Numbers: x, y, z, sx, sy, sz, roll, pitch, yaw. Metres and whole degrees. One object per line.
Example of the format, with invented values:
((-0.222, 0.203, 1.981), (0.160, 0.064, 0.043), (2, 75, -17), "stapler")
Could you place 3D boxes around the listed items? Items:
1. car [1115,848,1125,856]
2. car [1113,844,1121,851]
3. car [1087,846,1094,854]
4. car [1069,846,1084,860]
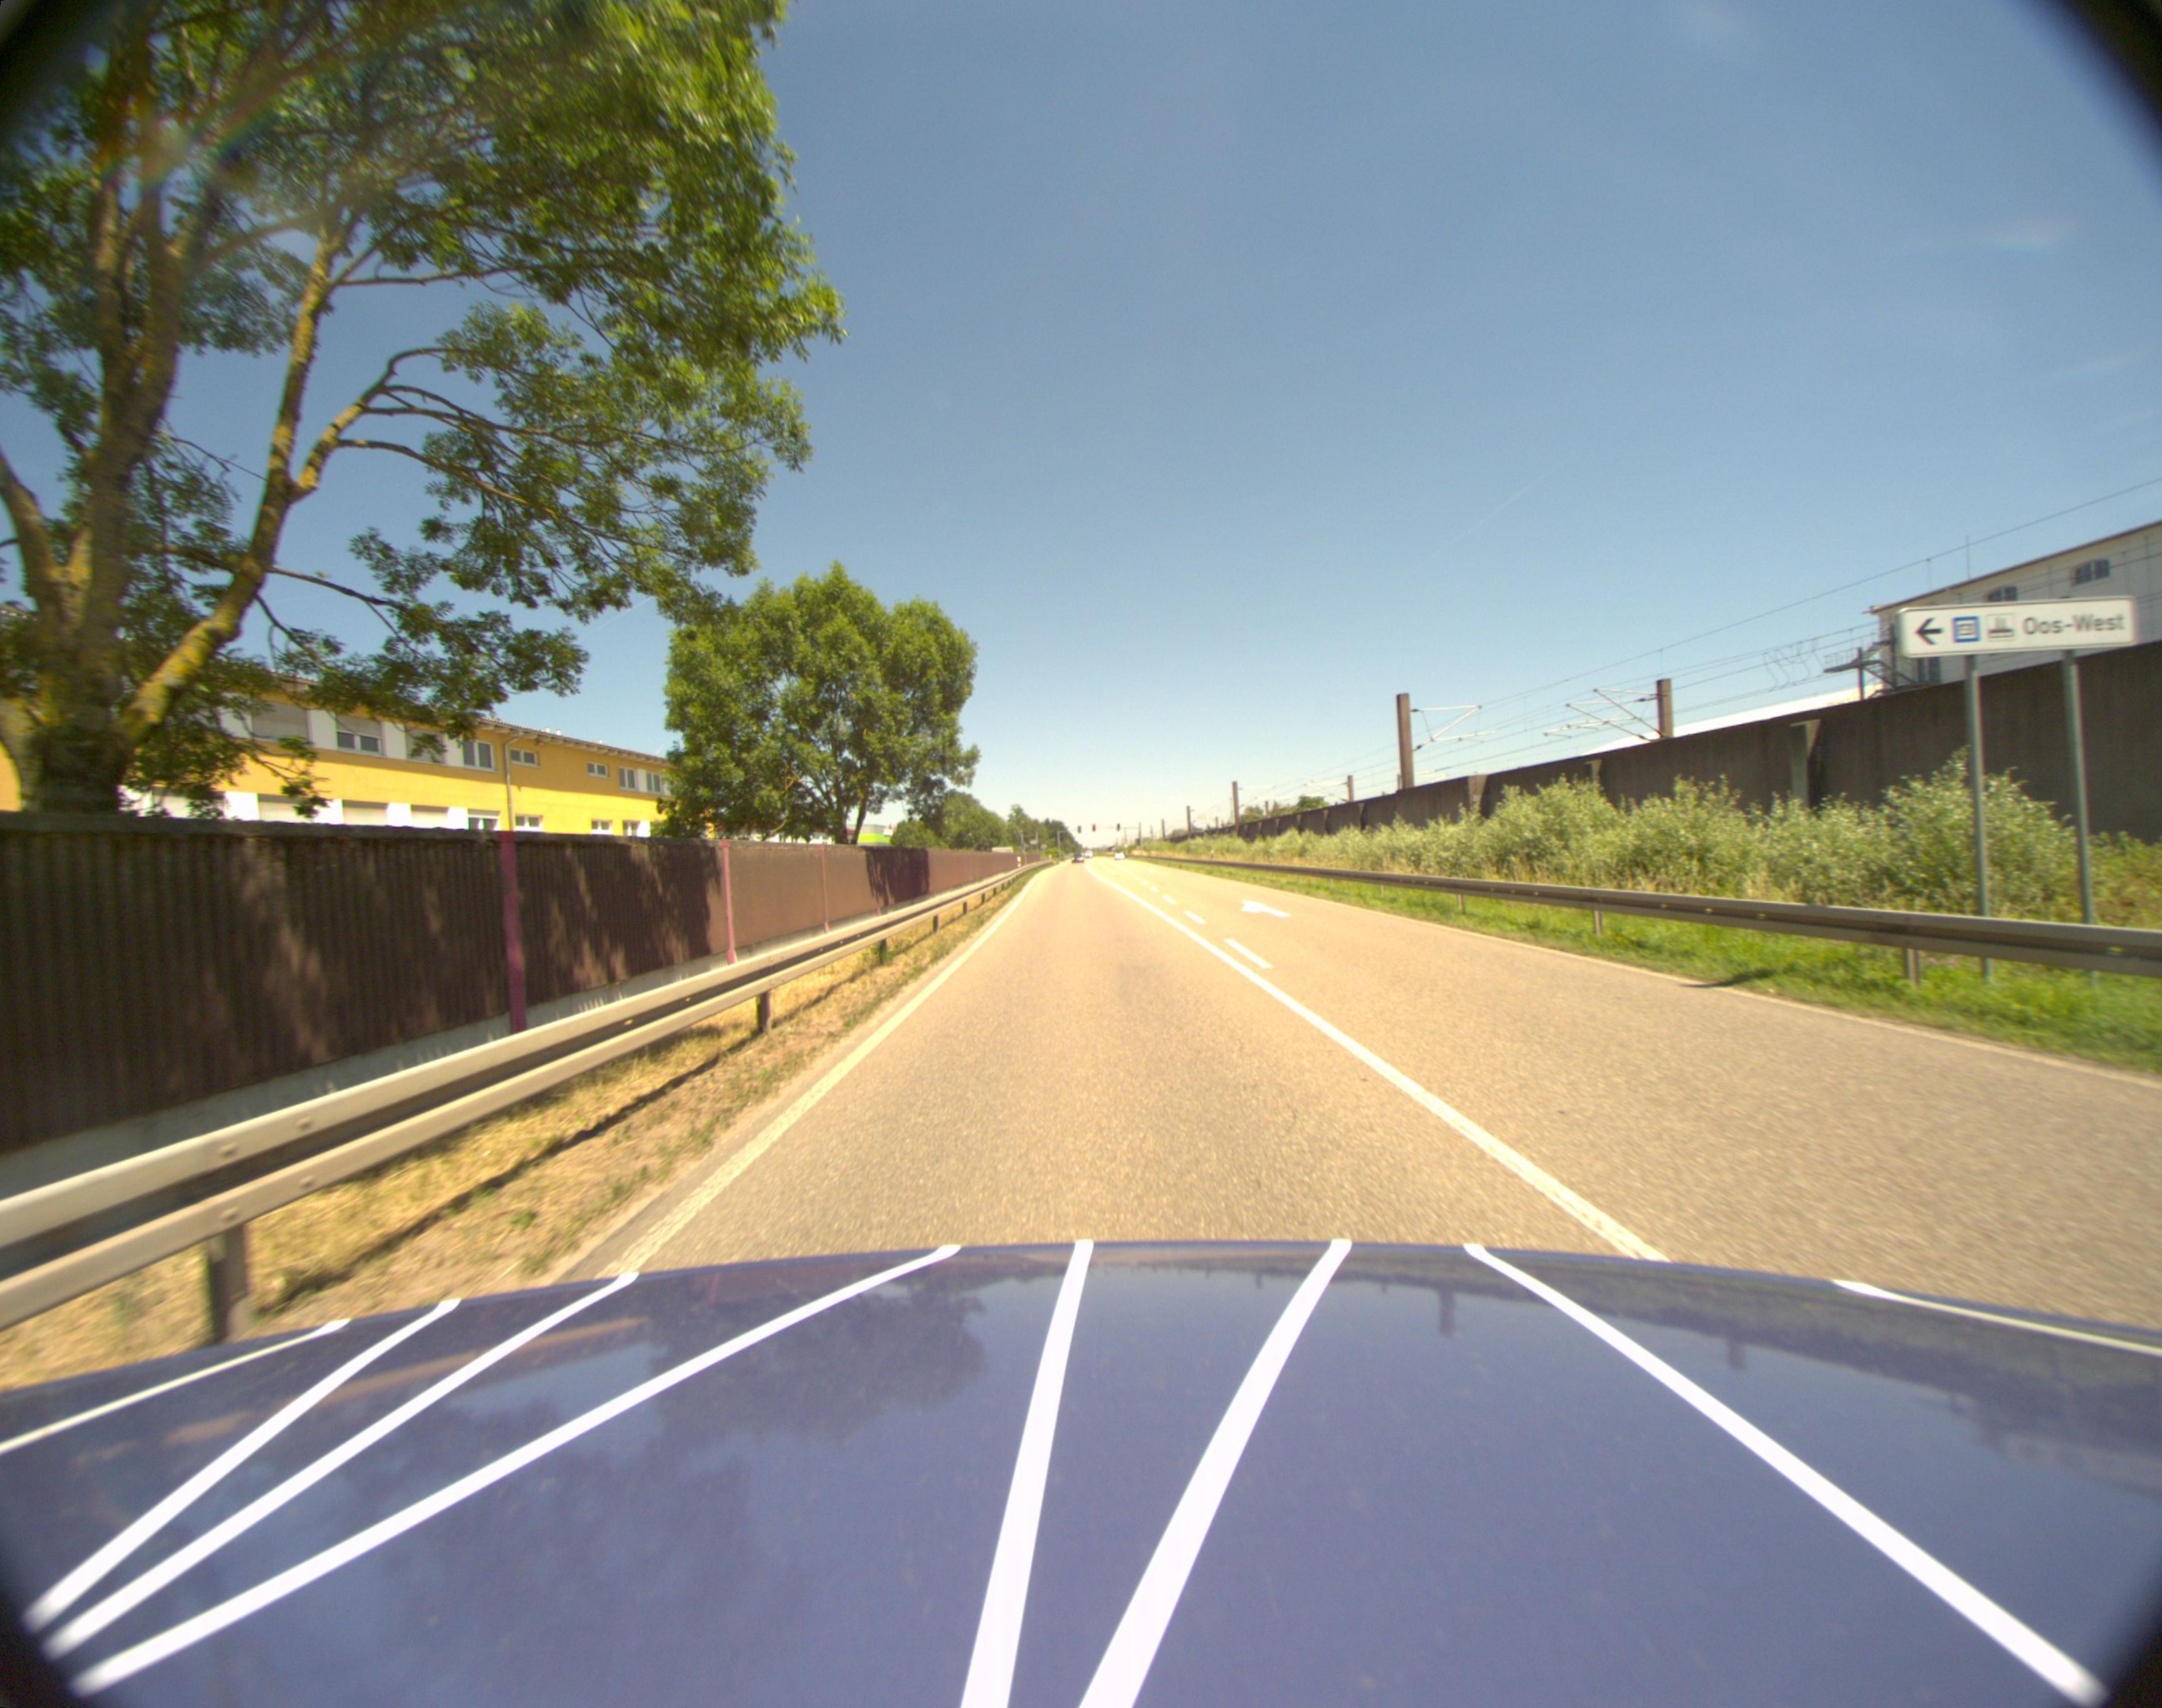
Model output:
((7.164, -0.357, 139.877), (1.600, 1.466, 3.773), (-2, 0, -1), "car")
((10.867, -1.940, 230.314), (1.998, 2.002, 3.999), (-2, 1, 0), "car")
((2.599, -1.060, 206.730), (1.998, 2.002, 3.999), (-2, 1, 0), "car")
((-0.657, -0.146, 112.238), (1.999, 2.002, 3.999), (-2, 1, -1), "car")
